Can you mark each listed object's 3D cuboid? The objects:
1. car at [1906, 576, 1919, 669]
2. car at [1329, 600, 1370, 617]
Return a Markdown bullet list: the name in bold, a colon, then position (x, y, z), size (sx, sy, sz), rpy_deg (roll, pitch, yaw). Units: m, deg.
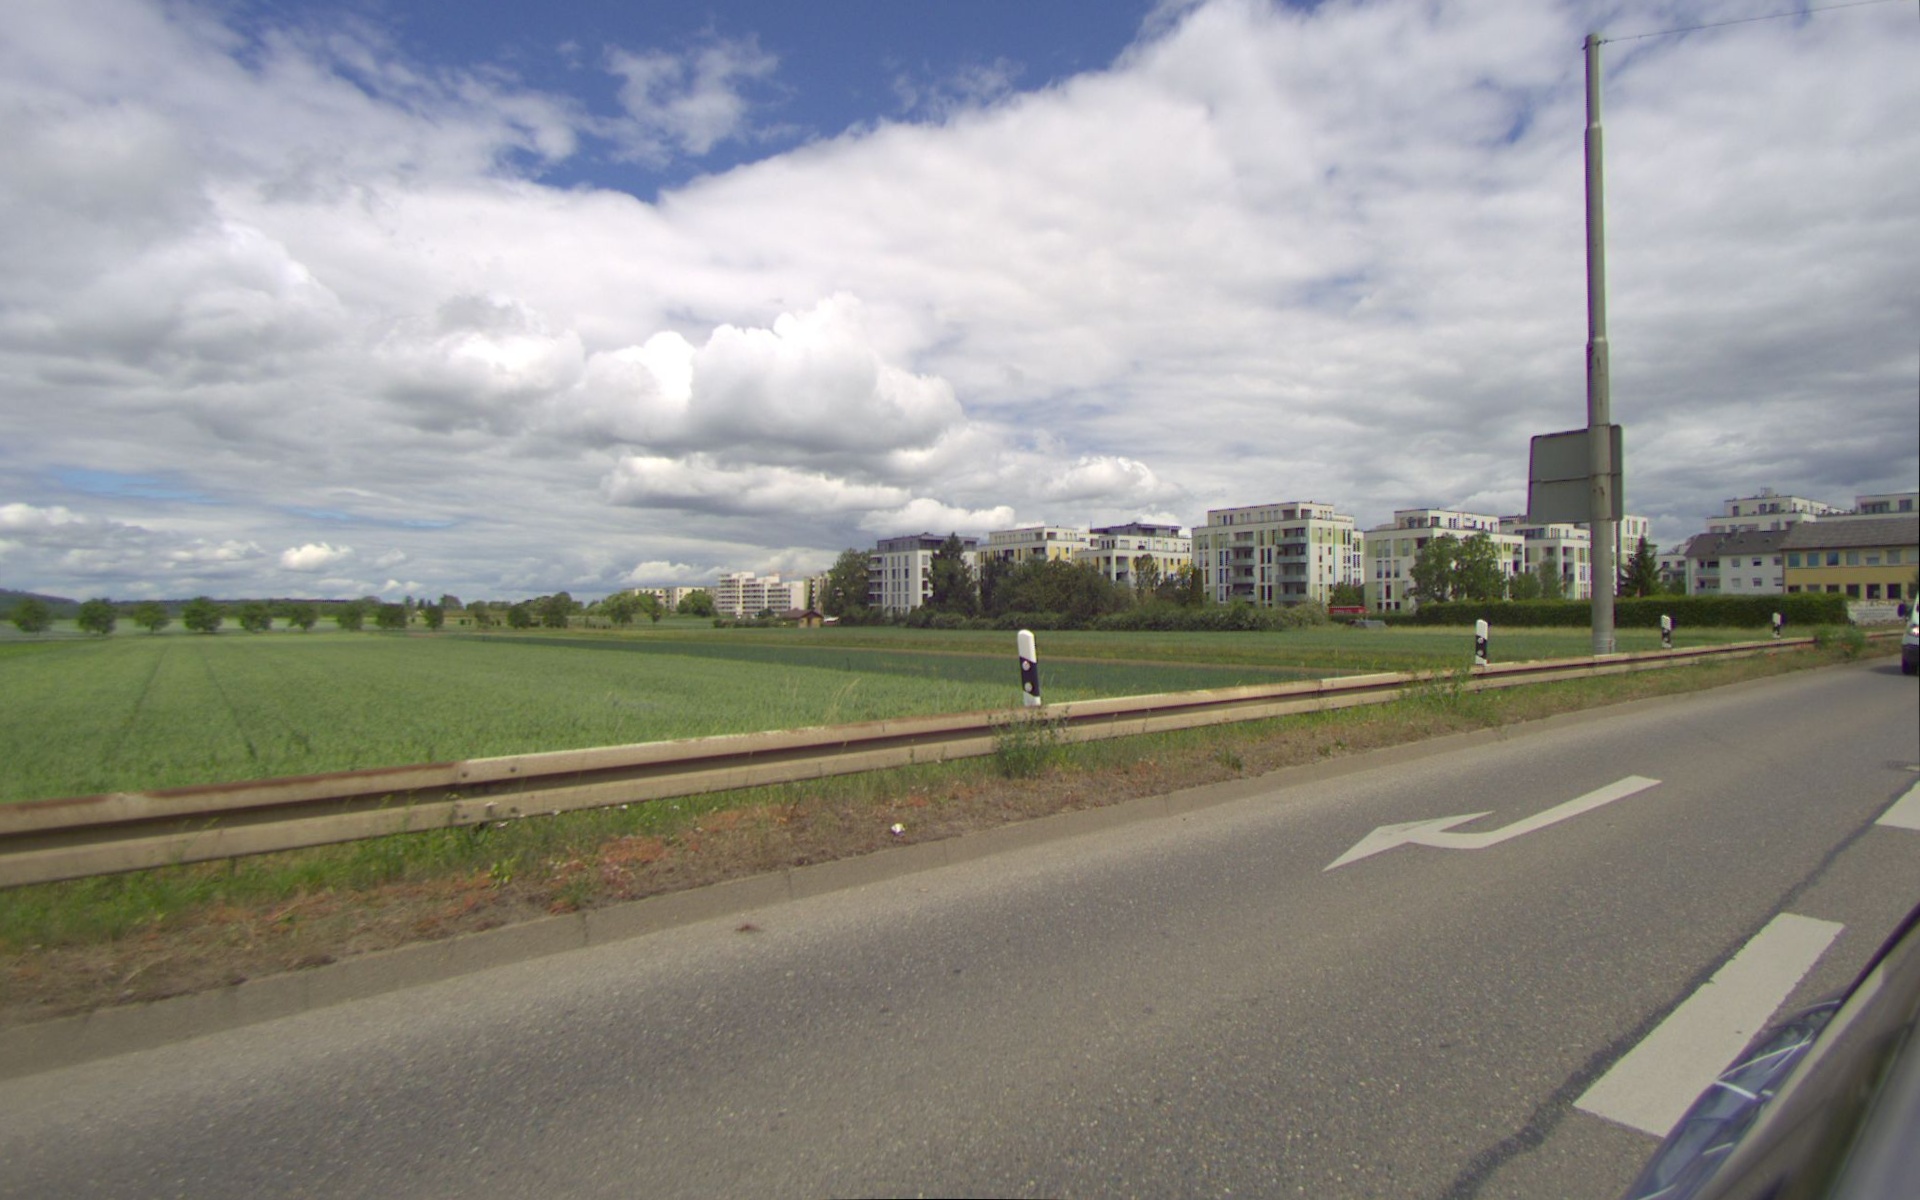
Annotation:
- **car**: position (22.712, 0.433, 22.249), size (5.776, 1.942, 1.998), rpy_deg (-1, 0, -39)
- **car**: position (48.861, 1.028, 126.994), size (1.965, 2.039, 4.433), rpy_deg (-1, 0, -41)
